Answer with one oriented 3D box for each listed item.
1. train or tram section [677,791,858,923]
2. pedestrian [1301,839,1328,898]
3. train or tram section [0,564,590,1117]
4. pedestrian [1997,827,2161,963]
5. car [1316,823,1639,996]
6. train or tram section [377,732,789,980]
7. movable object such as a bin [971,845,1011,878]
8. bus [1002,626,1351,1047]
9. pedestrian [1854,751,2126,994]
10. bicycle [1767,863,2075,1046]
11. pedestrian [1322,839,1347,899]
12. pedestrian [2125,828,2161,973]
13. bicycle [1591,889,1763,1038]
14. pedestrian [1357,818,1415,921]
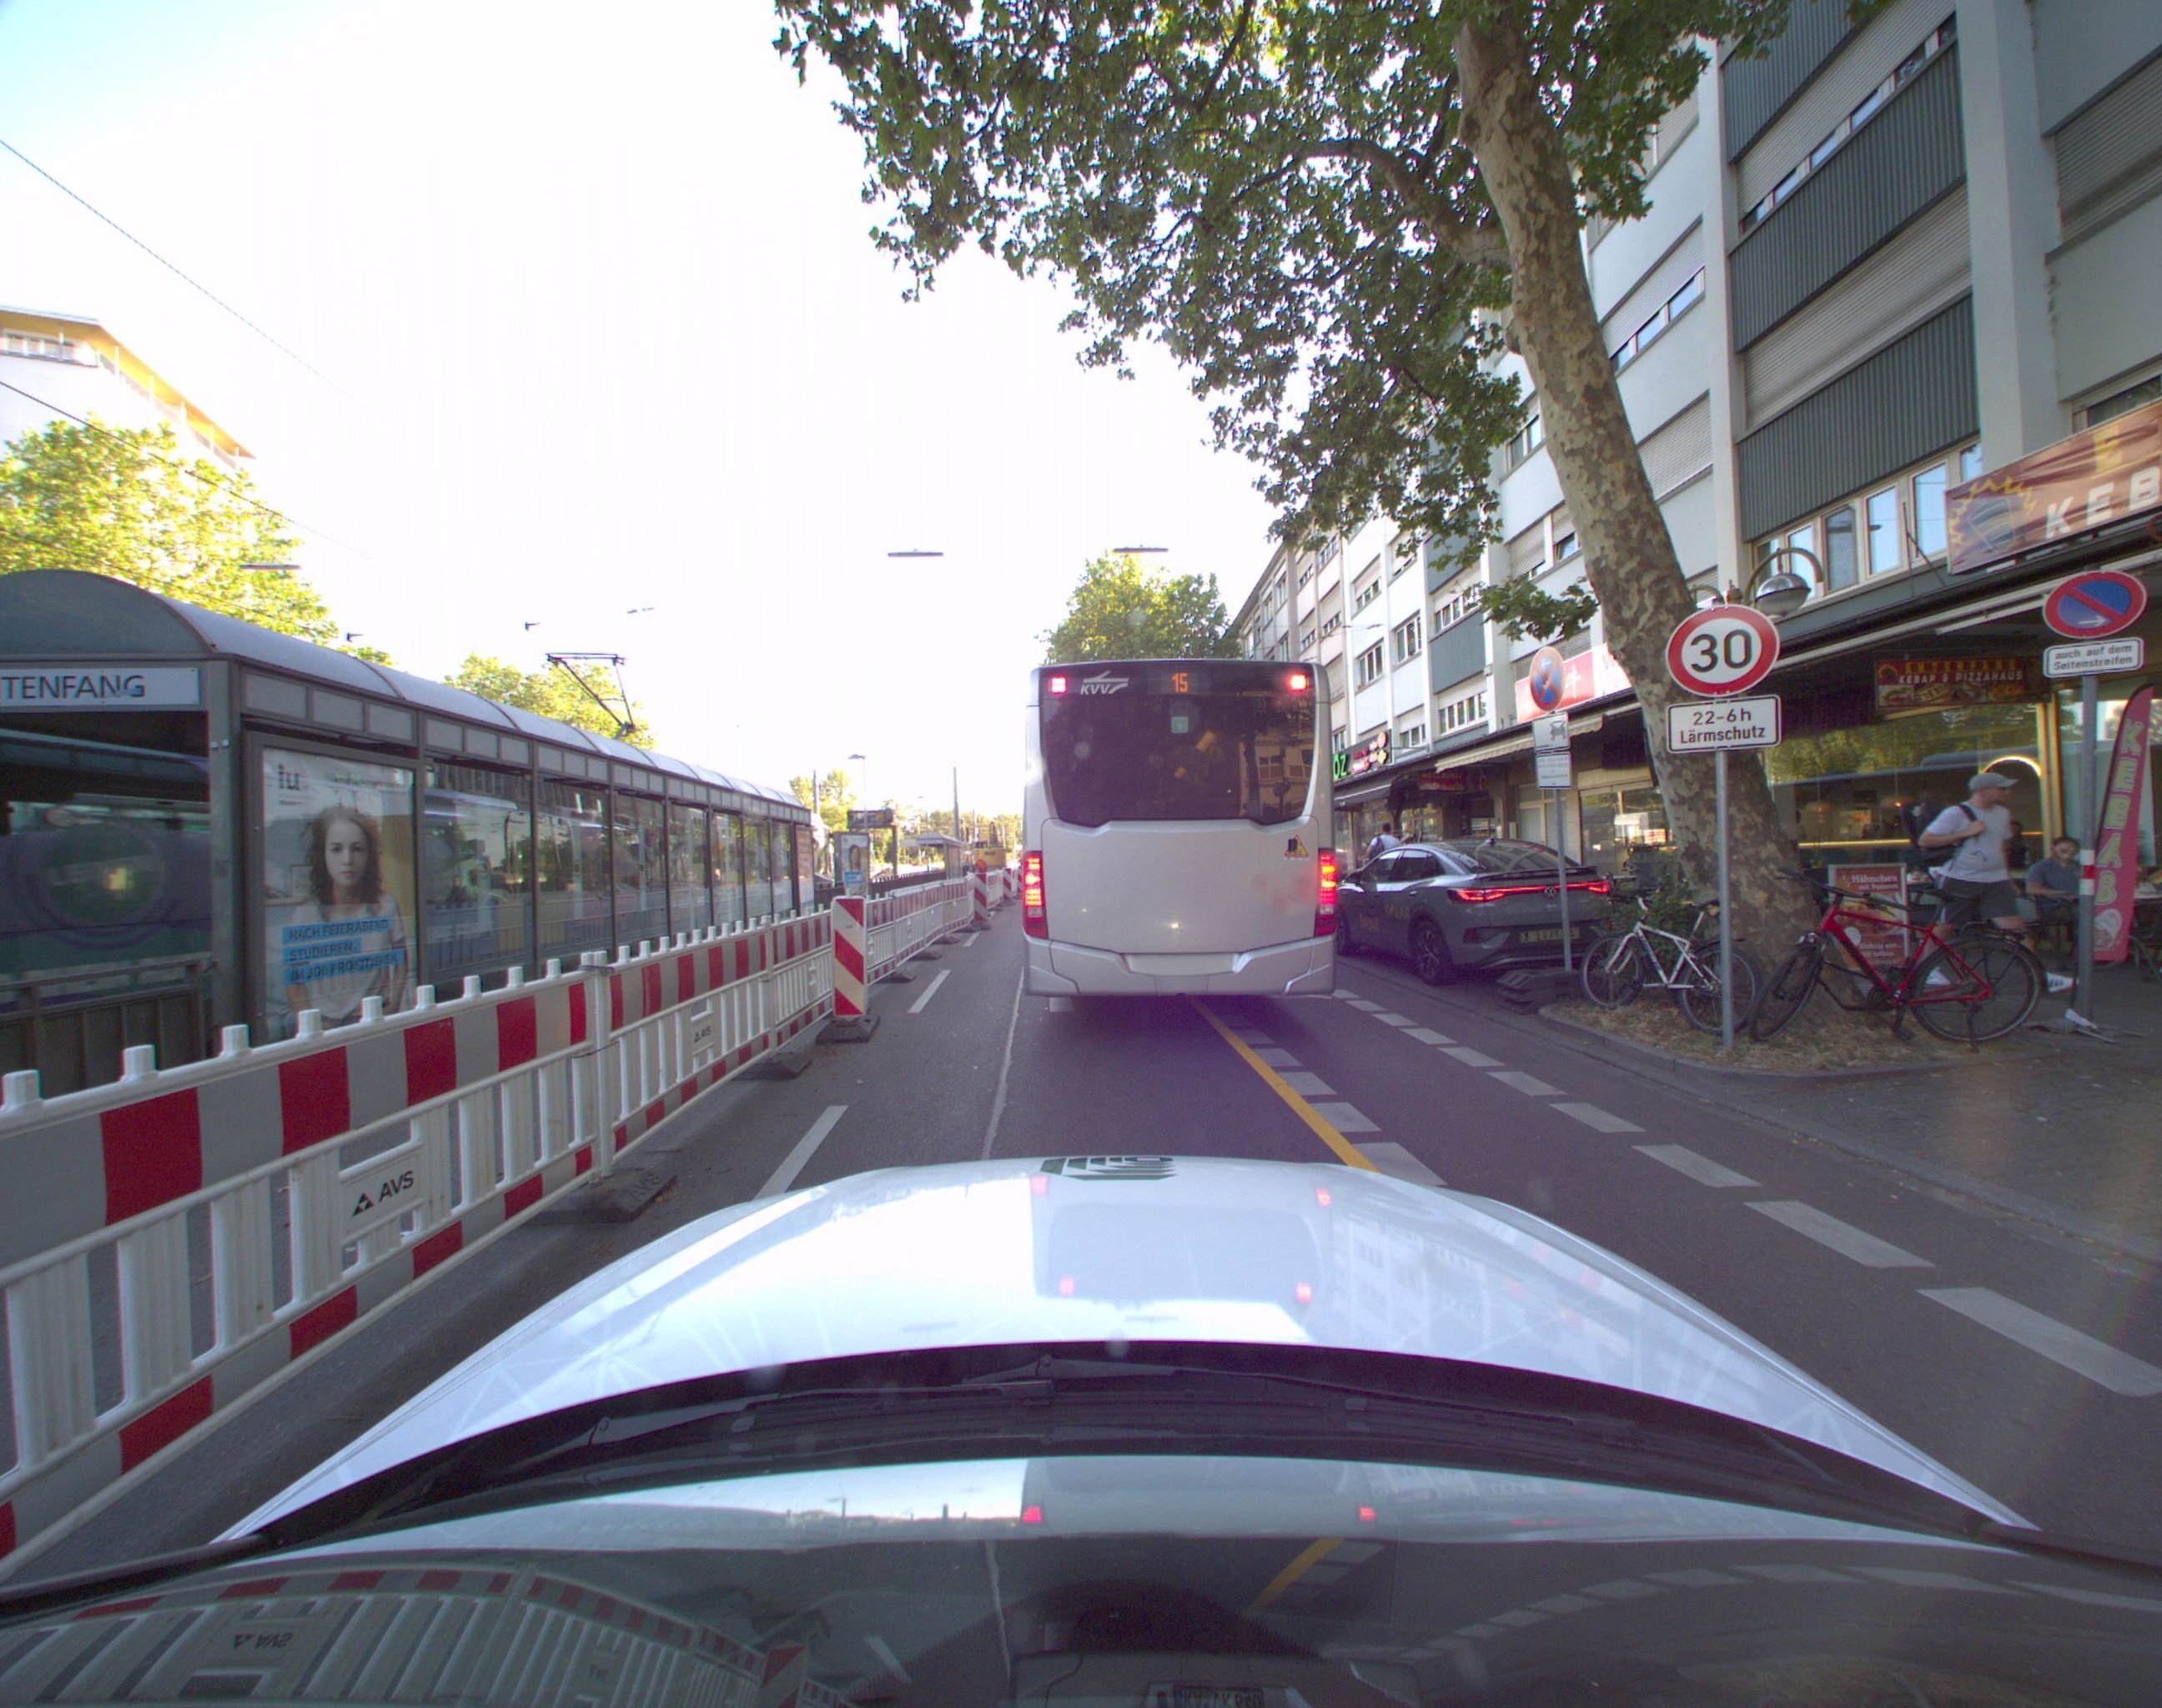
[{"bbox_3d":[-9.823,0.122,27.070,2.812,3.487,10.318,-2,0,-5],"label":"train or tram section"},{"bbox_3d":[8.033,0.499,28.087,0.688,2.014,0.697,-2,-1,3],"label":"pedestrian"},{"bbox_3d":[-8.315,-0.047,6.551,2.864,3.487,10.326,-2,0,-3],"label":"train or tram section"},{"bbox_3d":[9.629,0.382,7.862,0.673,1.203,0.706,-5,-1,11],"label":"pedestrian"},{"bbox_3d":[4.595,0.559,10.288,1.736,1.597,4.294,-4,0,-3],"label":"car"},{"bbox_3d":[-8.976,0.052,16.845,2.831,3.487,10.320,-2,0,-5],"label":"train or tram section"},{"bbox_3d":[-7.040,0.597,64.021,2.800,2.462,3.995,-2,0,-3],"label":"movable object such as a bin"},{"bbox_3d":[0.923,-0.127,11.376,2.598,3.170,10.297,-1,0,2],"label":"bus"},{"bbox_3d":[7.754,0.151,7.031,1.018,1.890,1.123,-2,-1,1],"label":"pedestrian"},{"bbox_3d":[5.500,0.671,5.384,1.450,1.066,0.297,-6,2,13],"label":"bicycle"},{"bbox_3d":[8.737,0.520,28.094,0.610,2.014,0.697,-2,-1,4],"label":"pedestrian"},{"bbox_3d":[9.567,0.385,6.825,0.612,1.243,0.714,-5,-1,11],"label":"pedestrian"},{"bbox_3d":[4.487,0.783,6.203,0.294,0.927,1.127,-6,2,-8],"label":"bicycle"},{"bbox_3d":[6.196,0.316,16.576,0.767,2.013,0.713,-3,-1,-2],"label":"pedestrian"}]
